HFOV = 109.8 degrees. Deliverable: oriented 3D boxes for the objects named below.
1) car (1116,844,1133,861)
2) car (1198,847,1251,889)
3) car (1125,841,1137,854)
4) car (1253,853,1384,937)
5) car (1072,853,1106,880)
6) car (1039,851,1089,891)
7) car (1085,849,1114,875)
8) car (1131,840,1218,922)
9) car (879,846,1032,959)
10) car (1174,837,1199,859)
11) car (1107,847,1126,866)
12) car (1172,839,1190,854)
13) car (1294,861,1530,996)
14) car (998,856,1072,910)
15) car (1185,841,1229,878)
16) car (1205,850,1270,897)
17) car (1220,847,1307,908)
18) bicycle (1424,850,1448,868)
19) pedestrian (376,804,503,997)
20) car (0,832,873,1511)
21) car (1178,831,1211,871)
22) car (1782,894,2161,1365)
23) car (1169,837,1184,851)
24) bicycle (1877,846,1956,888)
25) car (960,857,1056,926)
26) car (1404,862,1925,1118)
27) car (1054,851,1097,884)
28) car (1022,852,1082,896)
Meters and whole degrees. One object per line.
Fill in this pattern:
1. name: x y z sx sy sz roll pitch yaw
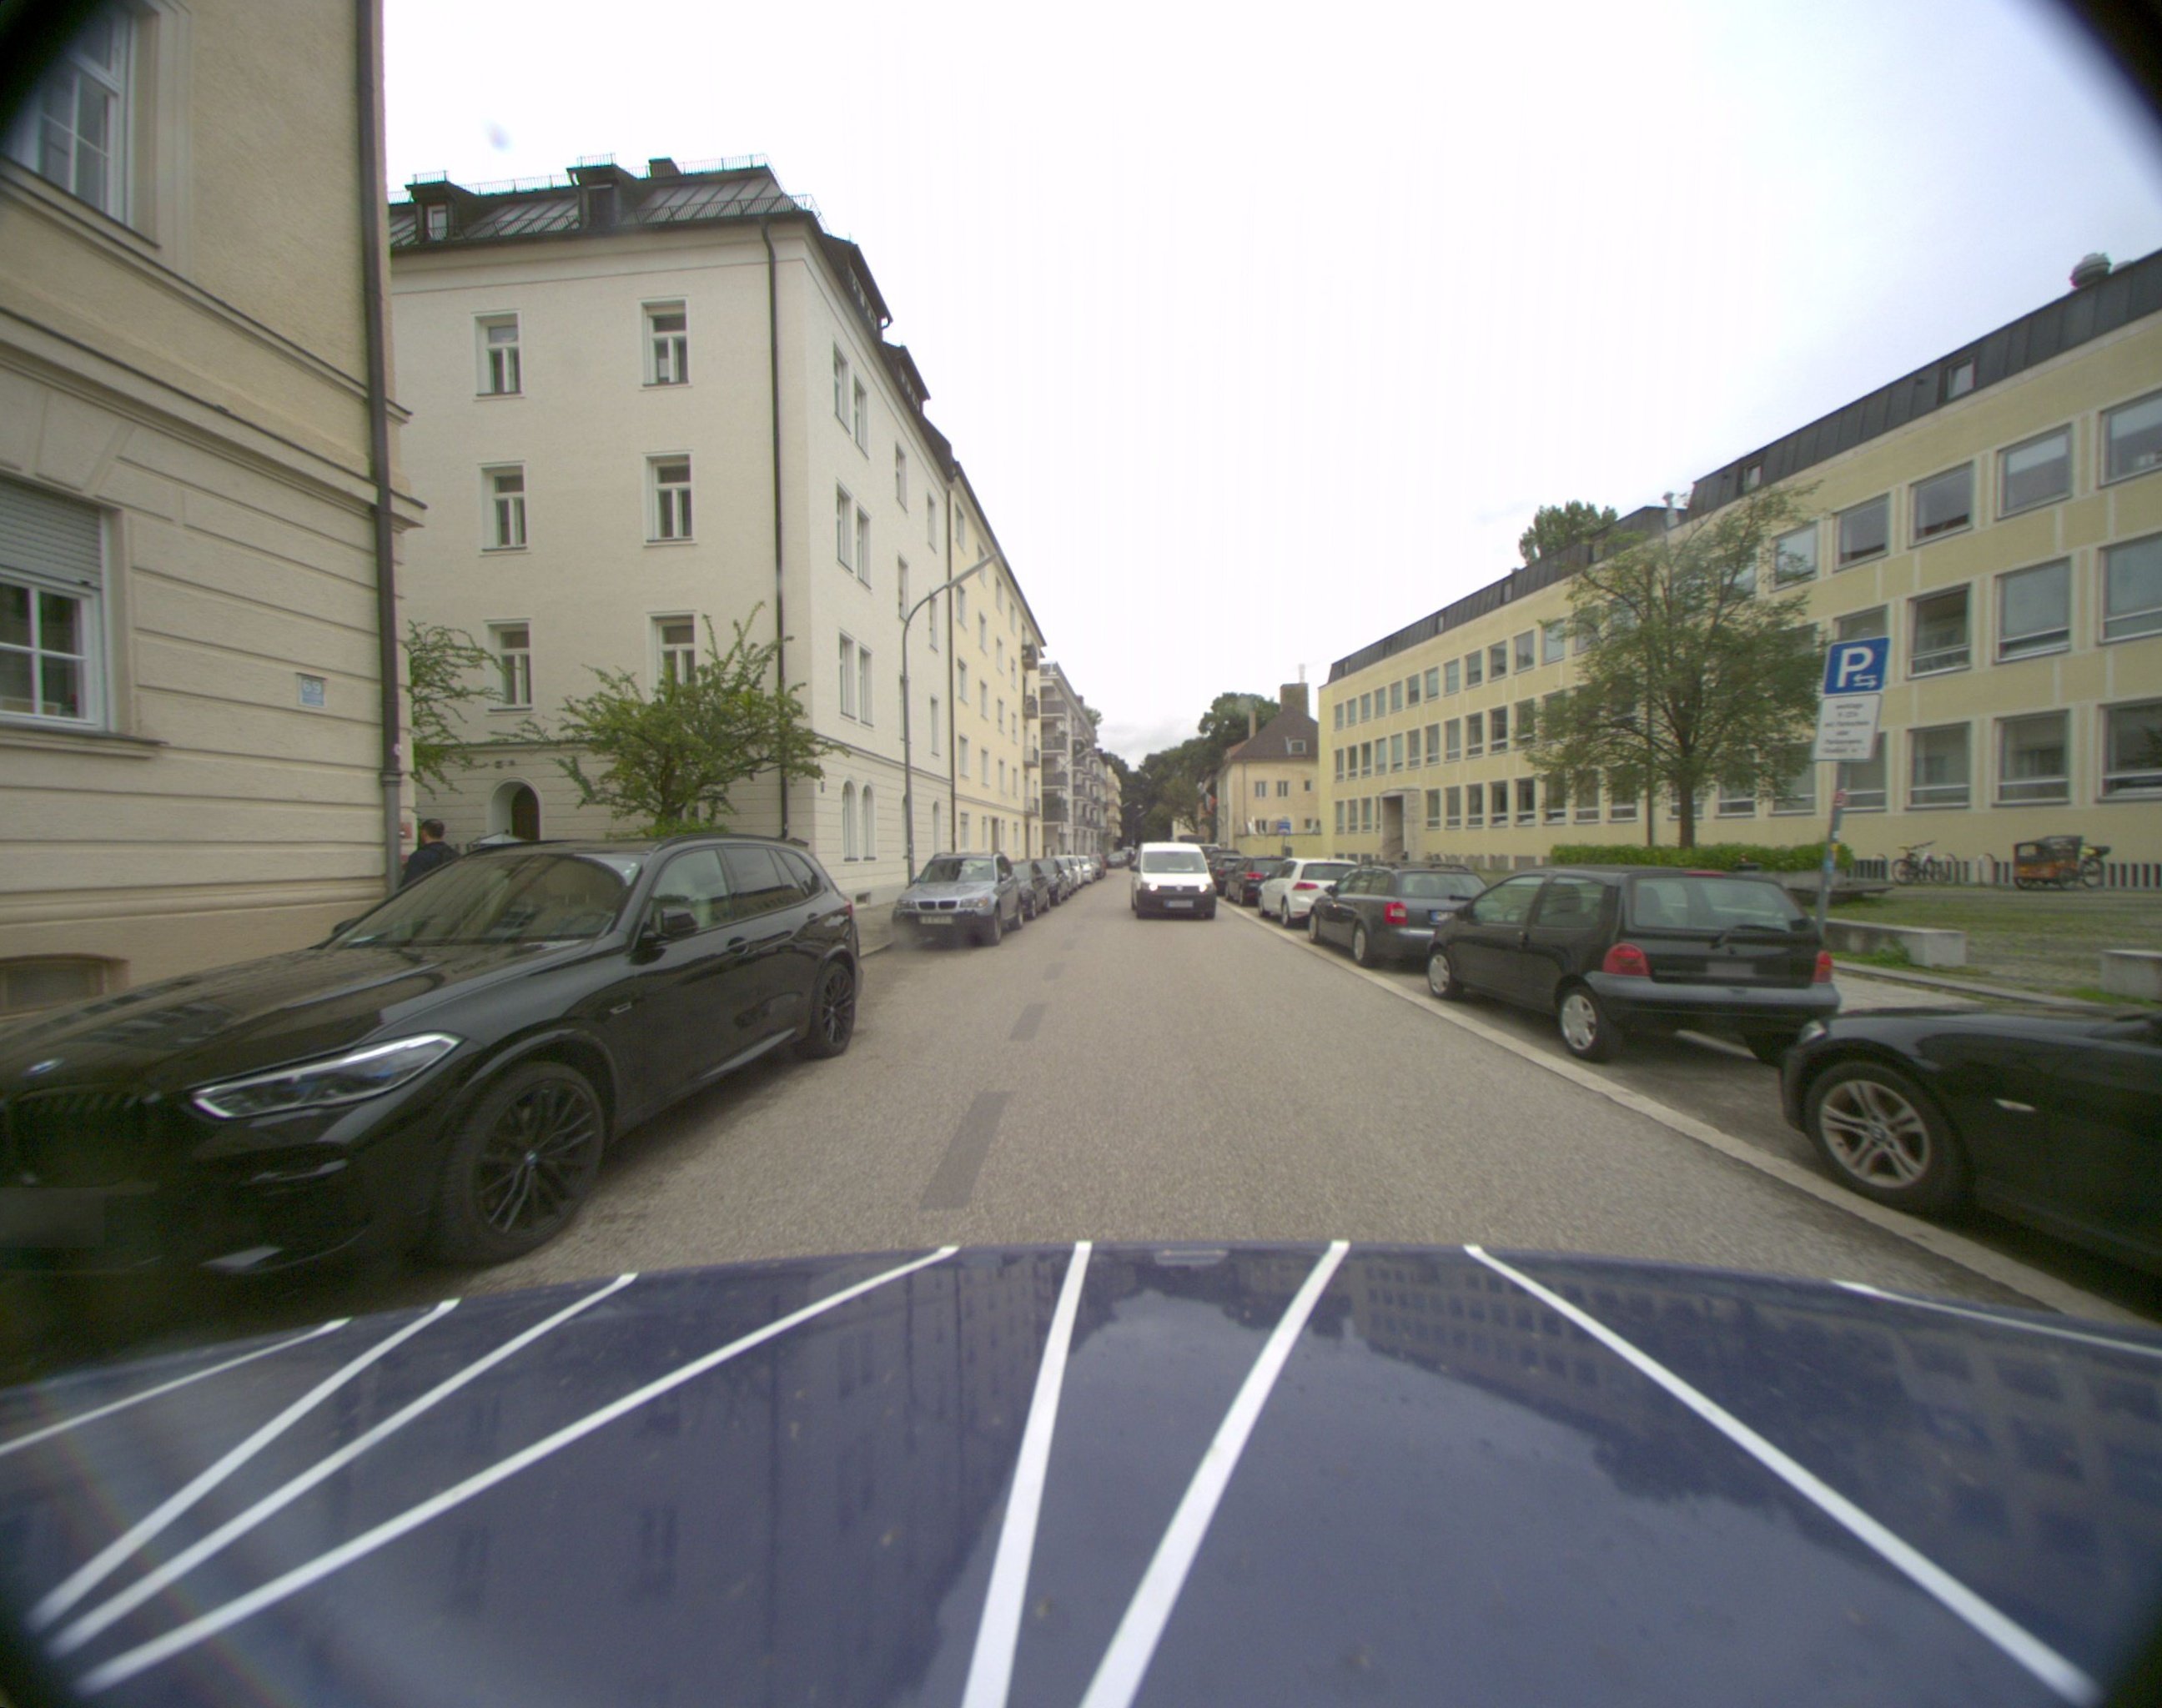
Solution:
1. car: 4.743 -0.148 83.236 1.638 1.726 3.881 -3 1 5
2. car: 6.160 0.548 33.014 1.744 1.679 4.123 0 1 4
3. car: 7.285 -0.935 110.466 1.638 1.726 3.881 -3 1 5
4. car: 5.009 0.788 16.575 1.725 1.521 4.000 0 1 2
5. car: 0.539 0.690 44.973 1.742 1.367 4.022 -3 1 4
6. car: -0.704 0.731 35.024 1.841 1.538 4.268 -3 1 4
7. car: 1.283 0.526 51.032 1.742 1.507 4.022 -3 1 4
8. car: 2.239 0.547 19.013 1.883 1.762 4.925 0 1 5
9. car: -2.197 0.783 14.593 1.781 1.720 4.390 -3 1 5
10. car: 10.846 -0.647 78.363 2.214 2.070 4.960 -3 1 5
11. car: 3.471 0.223 73.727 1.638 1.726 3.881 -3 1 5
12. car: 14.510 -1.100 110.581 2.214 2.070 4.960 -3 1 5
13. car: 4.520 0.901 11.140 1.725 1.473 4.204 0 1 2
14. car: -1.400 0.861 24.809 1.802 1.406 4.529 -3 1 4
15. car: 7.018 0.253 42.694 1.948 1.965 4.355 0 1 2
16. car: 5.582 0.651 27.421 1.744 1.459 3.686 -3 1 4
17. car: 5.335 0.618 22.689 1.744 1.537 4.082 -3 1 3
18. bicycle: 19.462 0.270 41.676 1.244 0.897 0.288 -3 2 -10
19. pedestrian: -6.180 0.415 7.330 0.683 1.750 0.694 -2 2 36
20. car: -3.018 0.855 4.335 1.932 1.720 4.689 -3 0 5
21. car: 8.293 -0.281 55.979 1.998 2.702 4.960 -3 1 5
22. car: 4.203 0.935 1.483 1.725 1.356 4.211 2 1 0
23. car: 15.856 -1.697 126.701 2.214 2.070 4.960 -3 1 5
24. bicycle: 22.746 0.337 20.680 1.837 1.023 0.575 -3 2 -11
25. car: -1.790 0.883 19.835 1.707 1.434 4.056 -3 1 5
26. car: 4.440 0.874 6.642 1.725 1.473 3.754 0 1 2
27. car: -0.234 0.672 39.445 1.841 1.450 4.022 -3 1 4
28. car: -1.059 0.737 30.012 1.841 1.426 4.654 -3 1 4
